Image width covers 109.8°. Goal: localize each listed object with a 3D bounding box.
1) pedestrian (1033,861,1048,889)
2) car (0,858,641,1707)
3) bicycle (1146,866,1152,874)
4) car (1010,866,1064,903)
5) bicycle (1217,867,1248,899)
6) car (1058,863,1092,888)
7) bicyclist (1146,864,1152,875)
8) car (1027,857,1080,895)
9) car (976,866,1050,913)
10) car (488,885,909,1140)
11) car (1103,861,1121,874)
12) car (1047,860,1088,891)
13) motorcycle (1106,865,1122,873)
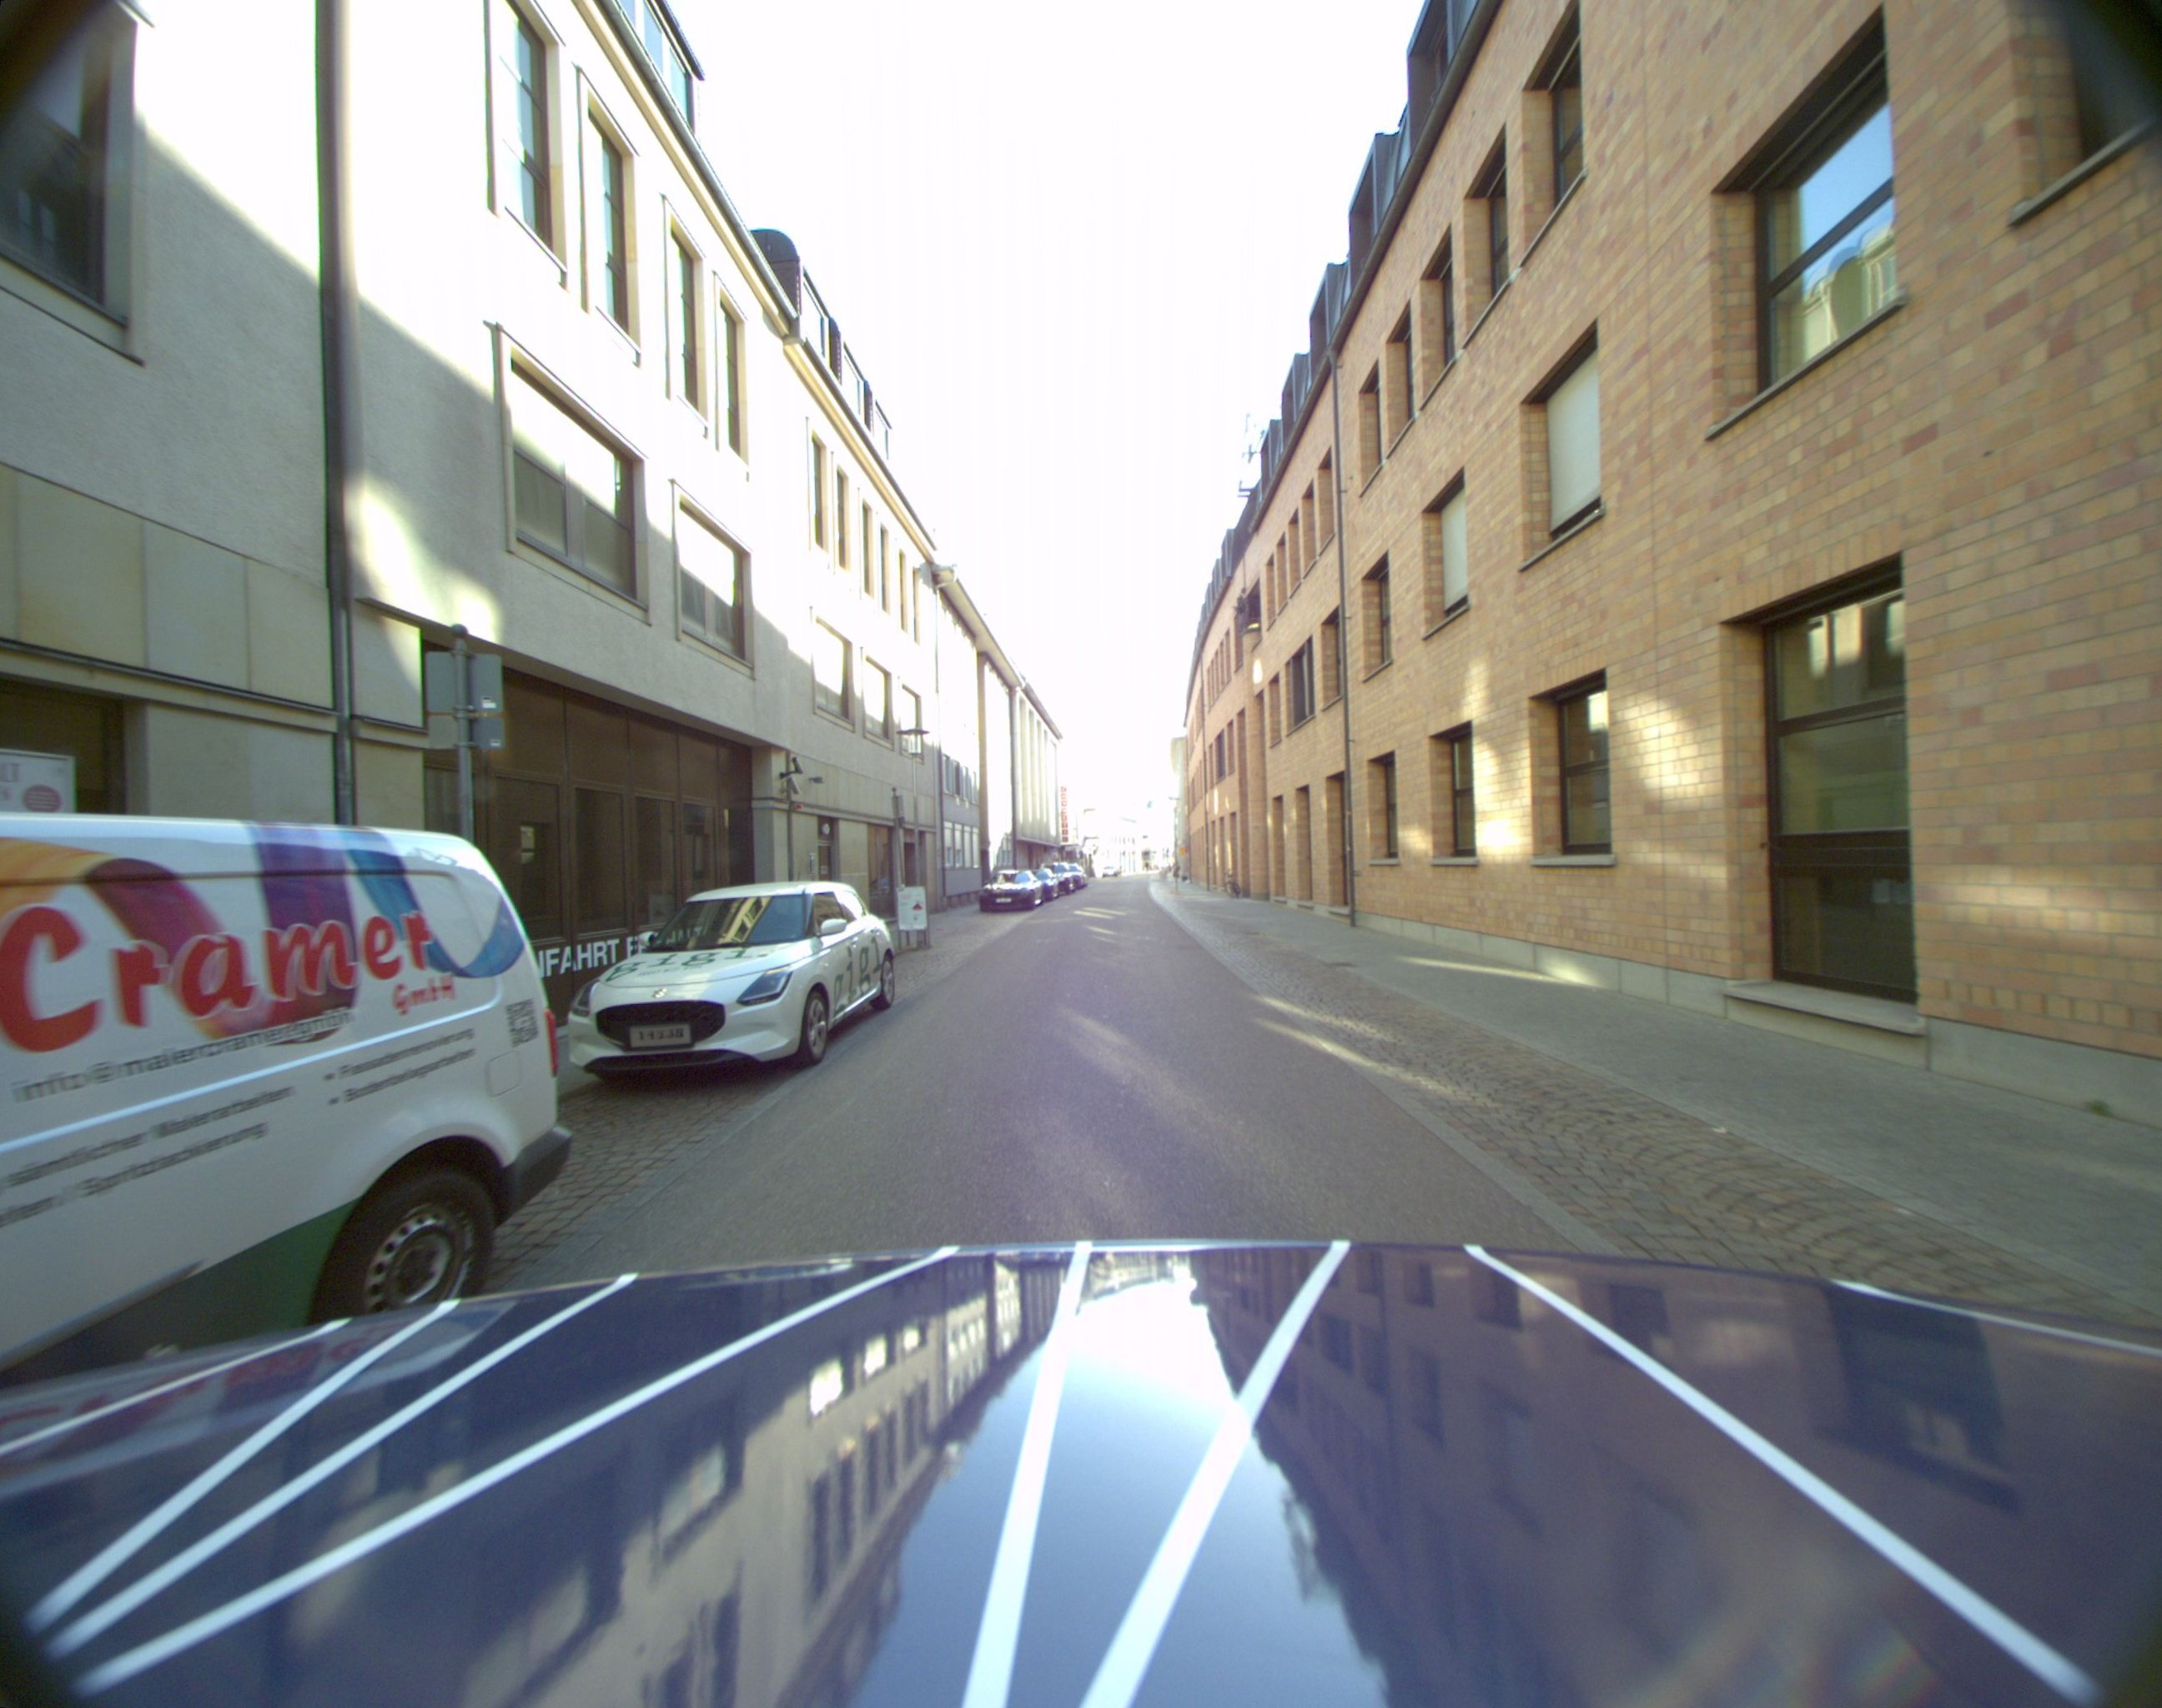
[{"bbox_3d":[-2.449,1.262,45.770,0.790,1.711,0.747,1,0,4],"label":"pedestrian"},{"bbox_3d":[-2.983,0.940,0.908,1.835,1.780,5.213,-3,0,0],"label":"car"},{"bbox_3d":[10.173,2.385,113.570,0.652,1.125,1.737,2,0,9],"label":"bicycle"},{"bbox_3d":[-1.917,1.340,34.342,1.811,1.404,4.791,-4,-1,3],"label":"car"},{"bbox_3d":[5.924,1.129,29.731,0.633,1.155,1.803,-4,-1,-5],"label":"bicycle"},{"bbox_3d":[-0.391,1.467,53.293,1.827,1.495,4.602,-4,-1,5],"label":"car"},{"bbox_3d":[10.181,2.260,113.603,0.663,1.633,0.926,2,1,9],"label":"bicyclist"},{"bbox_3d":[-1.372,1.130,40.503,2.108,1.775,5.054,-3,-1,5],"label":"car"},{"bbox_3d":[-2.397,1.249,28.324,1.898,1.444,5.227,-3,-1,4],"label":"car"},{"bbox_3d":[-3.048,1.153,7.215,1.845,1.469,4.168,-4,0,-1],"label":"car"},{"bbox_3d":[3.800,1.692,93.498,1.846,1.453,4.001,-3,-1,6],"label":"car"},{"bbox_3d":[-0.785,1.277,47.481,1.998,1.692,4.845,-4,-1,5],"label":"car"},{"bbox_3d":[4.342,1.978,100.701,1.995,0.950,0.646,-2,0,20],"label":"motorcycle"}]
